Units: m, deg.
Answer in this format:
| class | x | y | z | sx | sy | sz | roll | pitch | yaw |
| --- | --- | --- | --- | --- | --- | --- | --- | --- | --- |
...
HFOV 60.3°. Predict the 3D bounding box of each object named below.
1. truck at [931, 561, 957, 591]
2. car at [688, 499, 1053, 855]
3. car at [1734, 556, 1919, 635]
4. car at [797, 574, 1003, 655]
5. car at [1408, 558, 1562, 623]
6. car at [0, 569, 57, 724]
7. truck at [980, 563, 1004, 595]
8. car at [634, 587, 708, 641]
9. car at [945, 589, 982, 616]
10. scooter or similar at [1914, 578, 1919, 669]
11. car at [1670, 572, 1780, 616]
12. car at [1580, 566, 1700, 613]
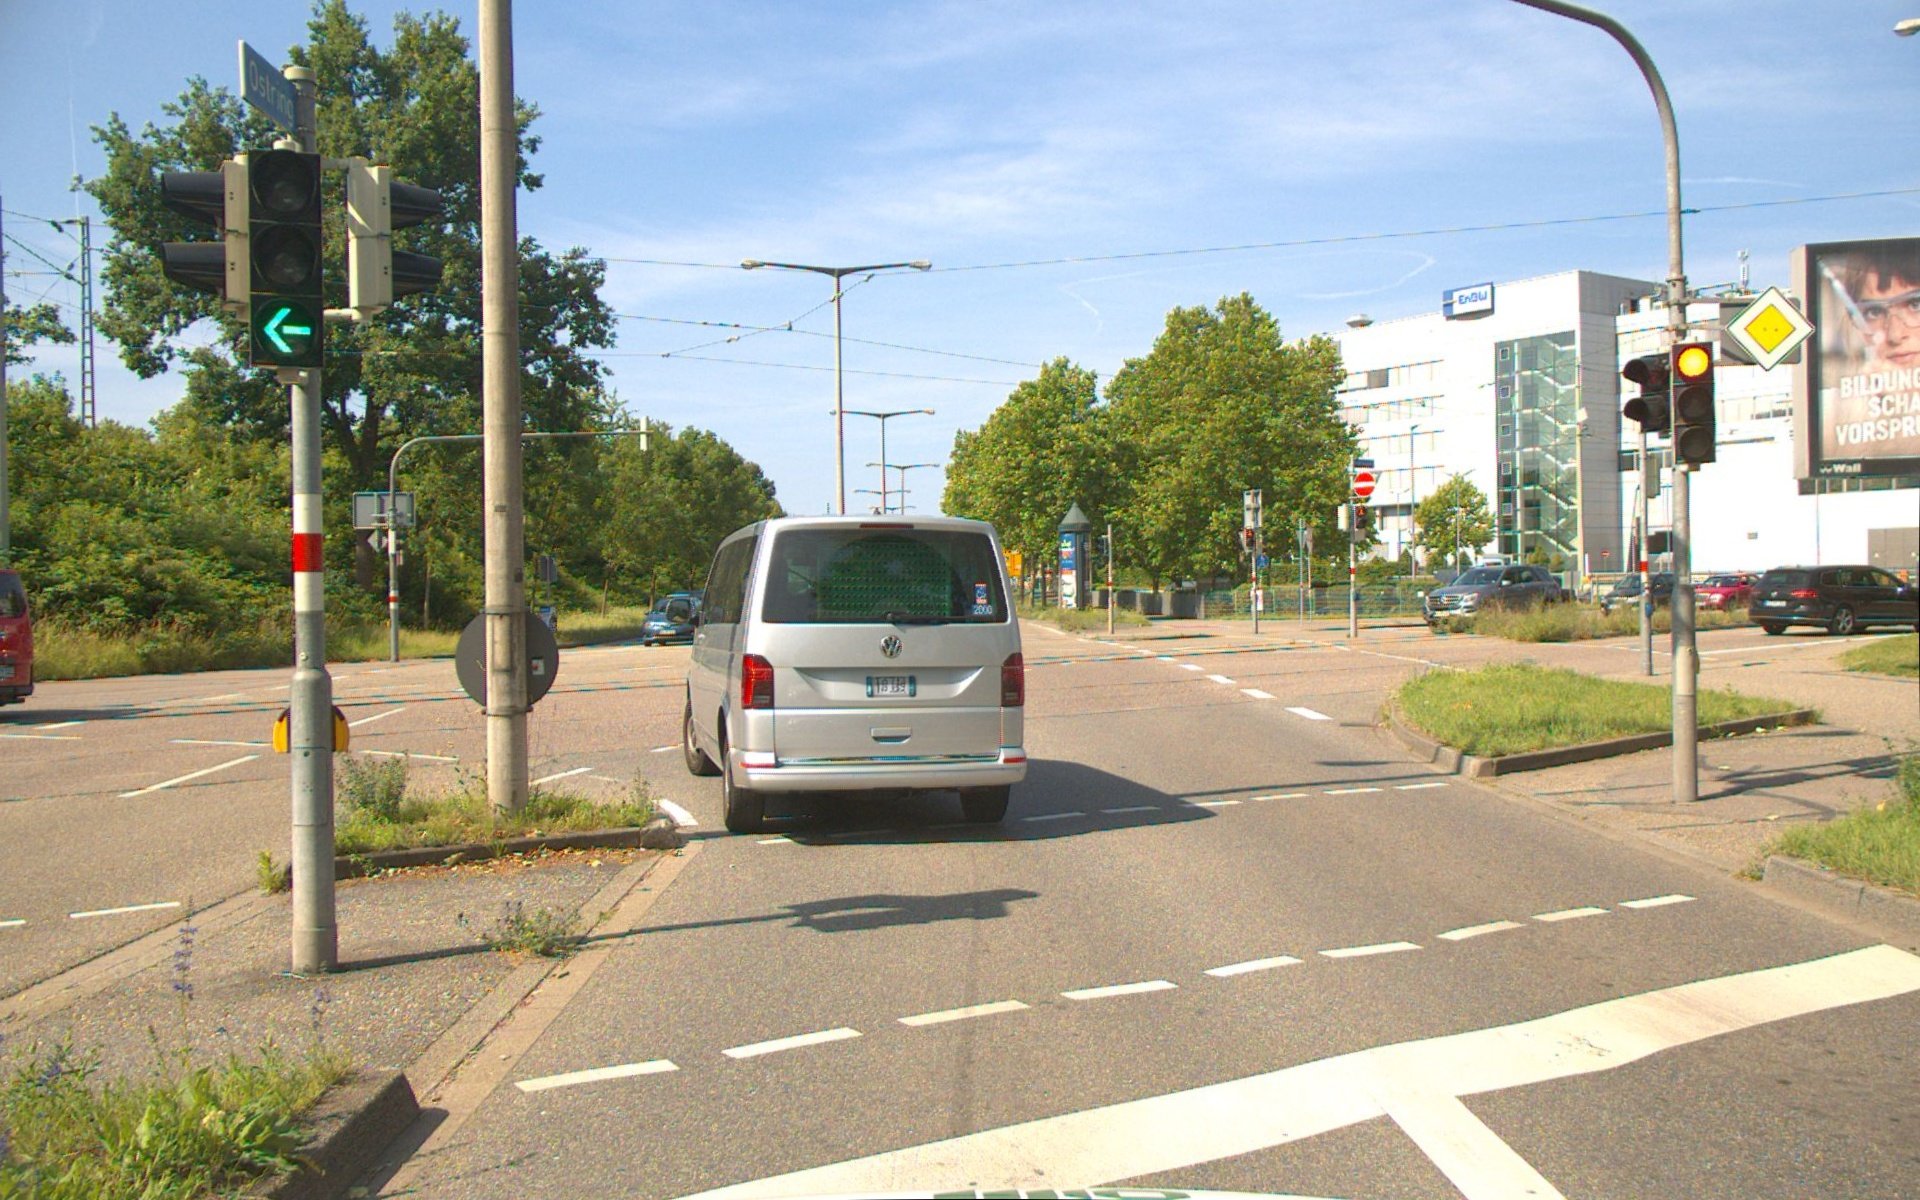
| class | x | y | z | sx | sy | sz | roll | pitch | yaw |
| --- | --- | --- | --- | --- | --- | --- | --- | --- | --- |
| truck | -1.926 | -2.946 | 204.544 | 2.782 | 3.640 | 8.722 | -1 | 0 | 2 |
| car | -0.896 | 0.411 | 11.980 | 1.907 | 2.006 | 5.007 | -1 | 0 | -12 |
| car | 18.772 | -0.119 | 35.348 | 4.330 | 1.537 | 1.834 | -2 | 0 | -28 |
| car | -1.334 | 0.308 | 35.870 | 4.293 | 1.633 | 1.807 | -1 | 1 | 38 |
| car | 14.885 | -0.289 | 46.804 | 4.579 | 1.718 | 1.890 | -2 | 1 | -38 |
| car | -14.345 | 0.633 | 21.198 | 4.450 | 1.958 | 1.976 | -1 | 0 | 4 |
| truck | 4.824 | -3.109 | 245.952 | 3.125 | 4.431 | 13.151 | -1 | 0 | 2 |
| car | -9.105 | 0.407 | 52.443 | 1.813 | 1.588 | 3.998 | -1 | 0 | -3 |
| car | 0.136 | 0.098 | 82.351 | 1.610 | 1.258 | 3.250 | -2 | 1 | -4 |
| scooter or similar | 12.332 | 0.302 | 20.420 | 0.416 | 1.146 | 1.123 | -1 | 0 | -2 |
| car | 27.951 | -0.226 | 60.371 | 4.579 | 1.469 | 1.758 | -2 | 1 | -38 |
| car | 23.471 | -0.372 | 57.024 | 4.579 | 1.469 | 1.758 | -2 | 1 | -38 |
